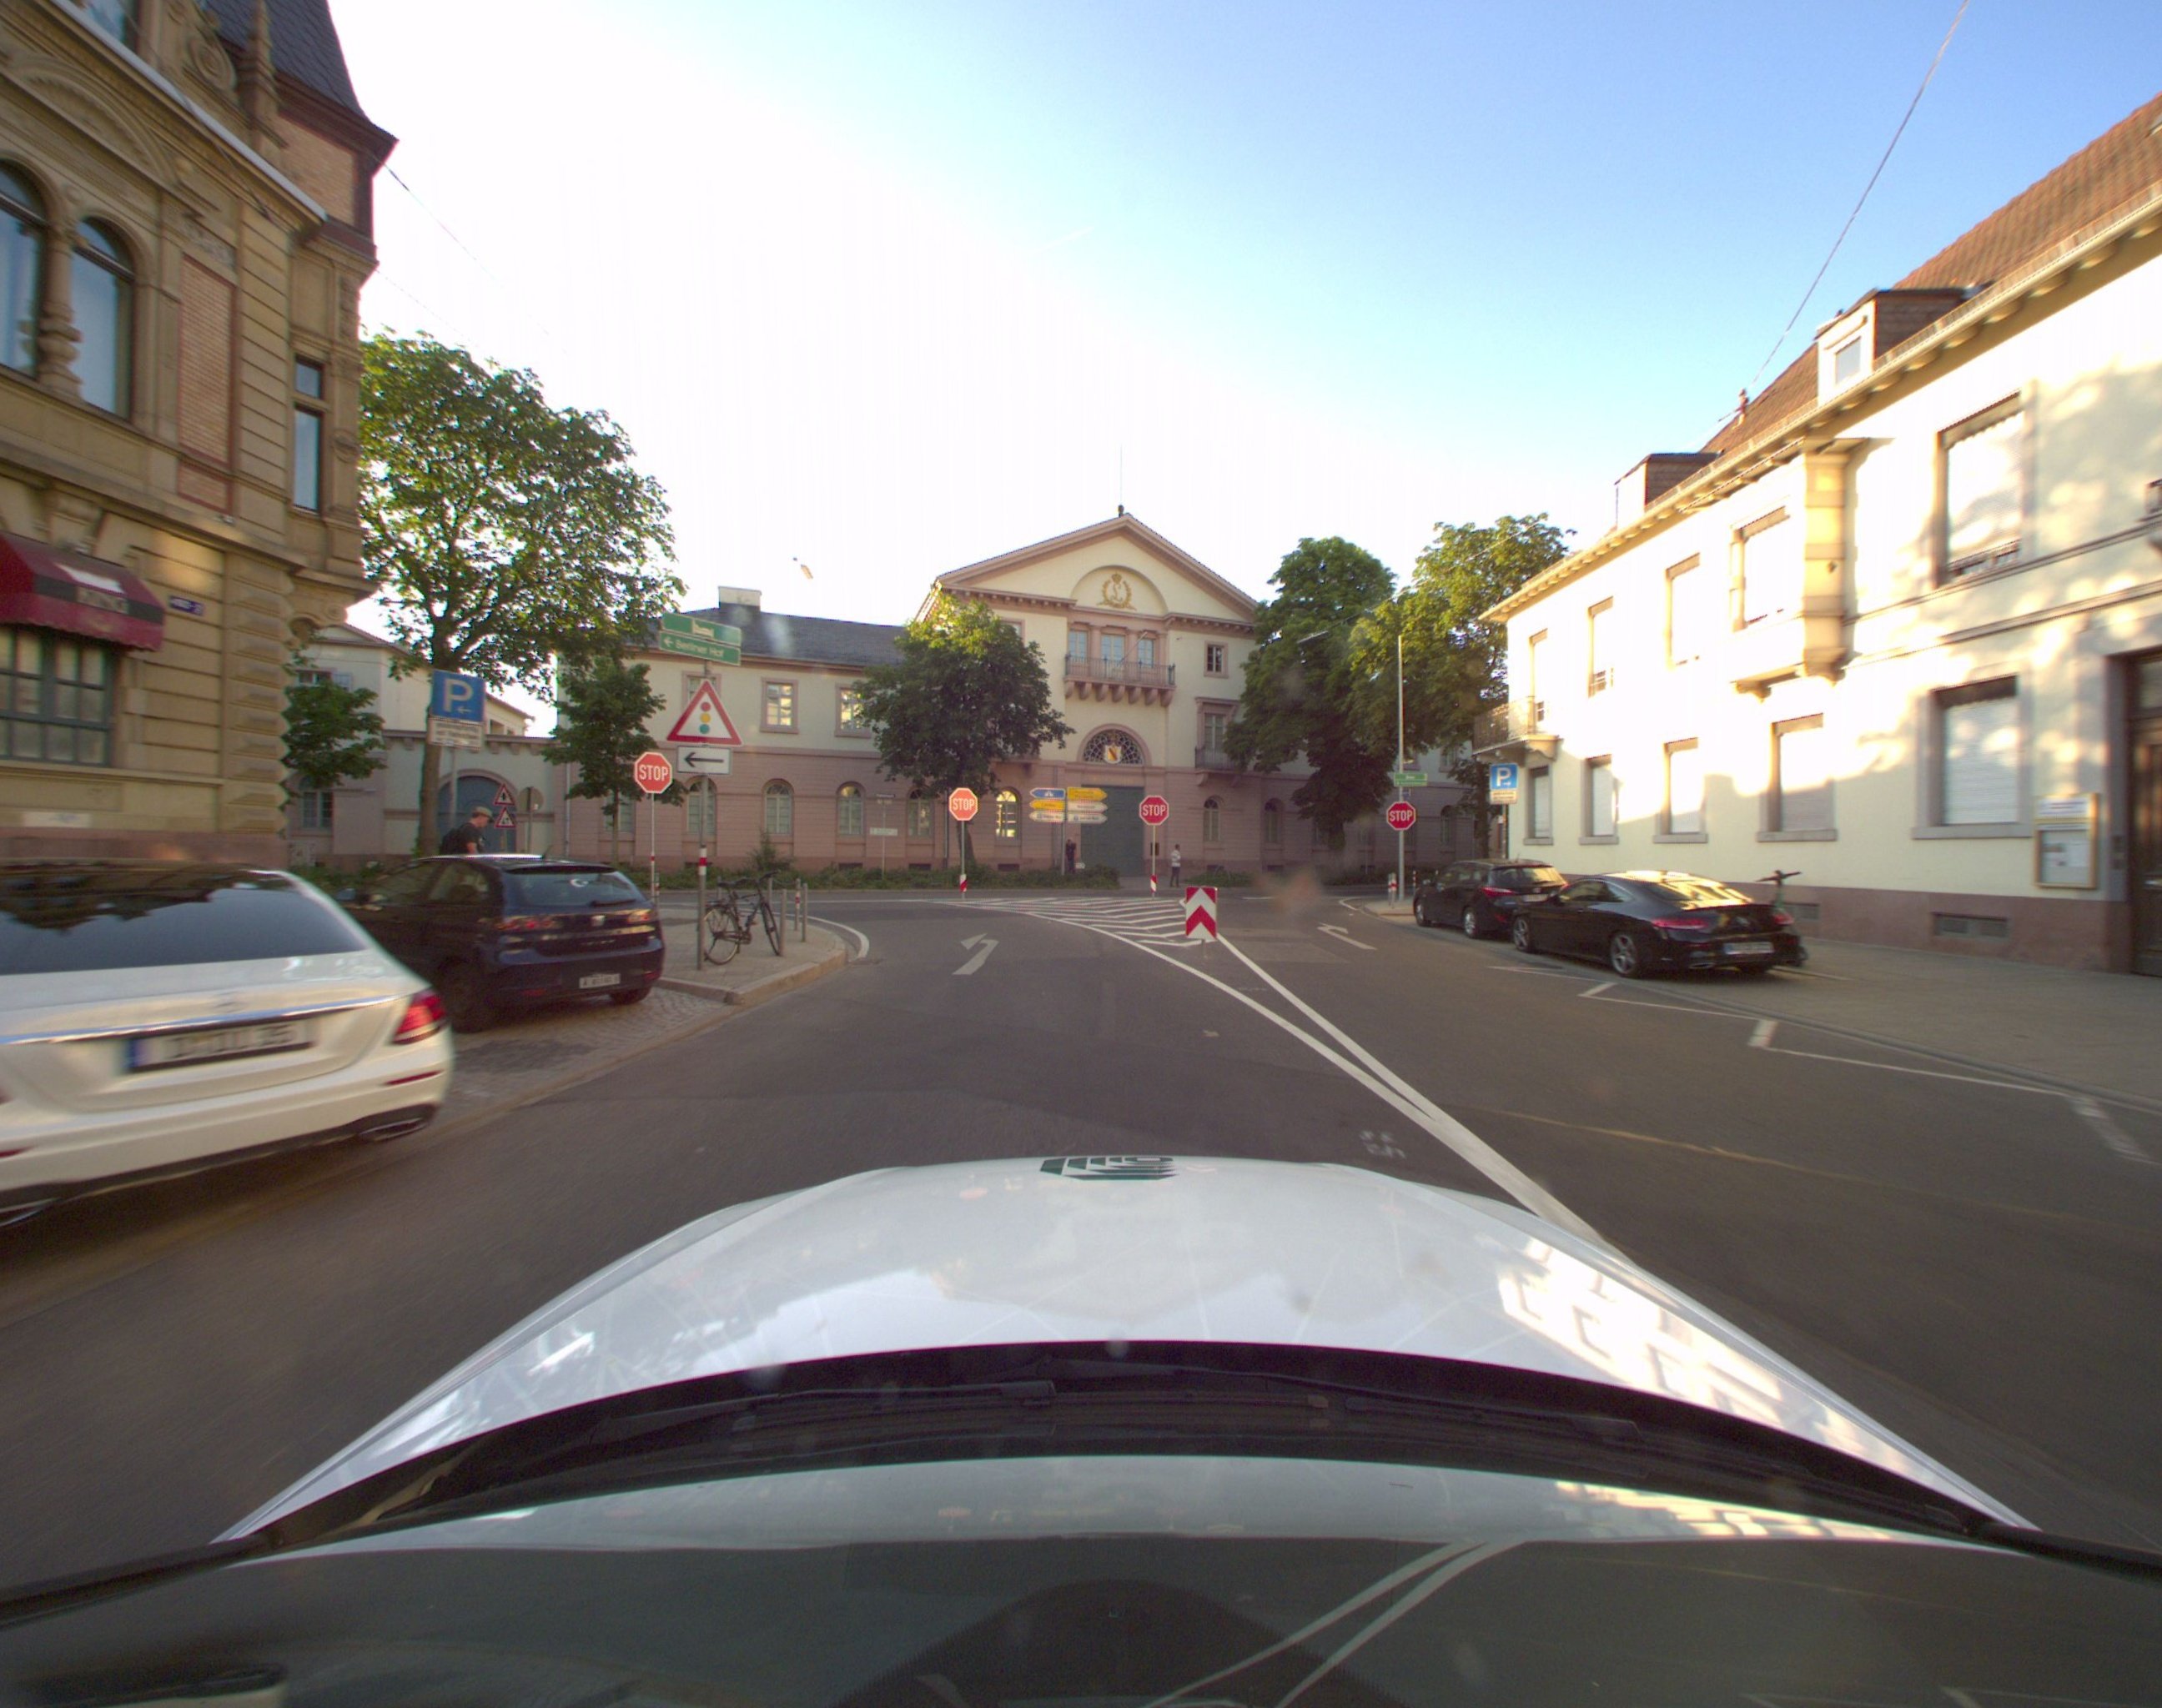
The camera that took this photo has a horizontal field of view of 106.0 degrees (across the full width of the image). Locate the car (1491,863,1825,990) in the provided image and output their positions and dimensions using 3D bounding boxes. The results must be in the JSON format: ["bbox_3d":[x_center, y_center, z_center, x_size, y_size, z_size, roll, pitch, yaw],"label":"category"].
[{"bbox_3d":[8.017,0.876,12.030,1.765,1.394,4.863,1,0,4],"label":"car"}]

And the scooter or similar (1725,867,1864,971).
[{"bbox_3d":[9.519,0.821,10.957,0.598,1.233,1.776,-3,0,13],"label":"scooter or similar"}]

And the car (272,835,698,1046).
[{"bbox_3d":[-5.848,0.658,7.969,3.816,1.460,1.751,4,1,26],"label":"car"}]

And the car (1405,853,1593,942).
[{"bbox_3d":[8.361,0.779,16.789,1.794,1.541,4.434,1,0,3],"label":"car"}]

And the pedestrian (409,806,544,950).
[{"bbox_3d":[-7.768,0.270,10.546,1.270,1.738,0.843,-1,2,-30],"label":"pedestrian"}]

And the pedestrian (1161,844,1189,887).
[{"bbox_3d":[4.081,0.485,35.377,0.931,1.832,0.794,0,0,-24],"label":"pedestrian"}]

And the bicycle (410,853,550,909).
[{"bbox_3d":[-14.105,0.617,19.167,2.560,1.267,0.844,1,0,-6],"label":"bicycle"}]

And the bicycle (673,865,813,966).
[{"bbox_3d":[-4.278,0.734,10.475,0.721,1.126,1.809,3,0,11],"label":"bicycle"}]

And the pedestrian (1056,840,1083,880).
[{"bbox_3d":[-0.545,0.284,38.470,1.083,1.839,0.795,0,0,-20],"label":"pedestrian"}]

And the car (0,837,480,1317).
[{"bbox_3d":[-5.332,0.722,4.293,4.570,1.512,1.780,2,1,30],"label":"car"}]
